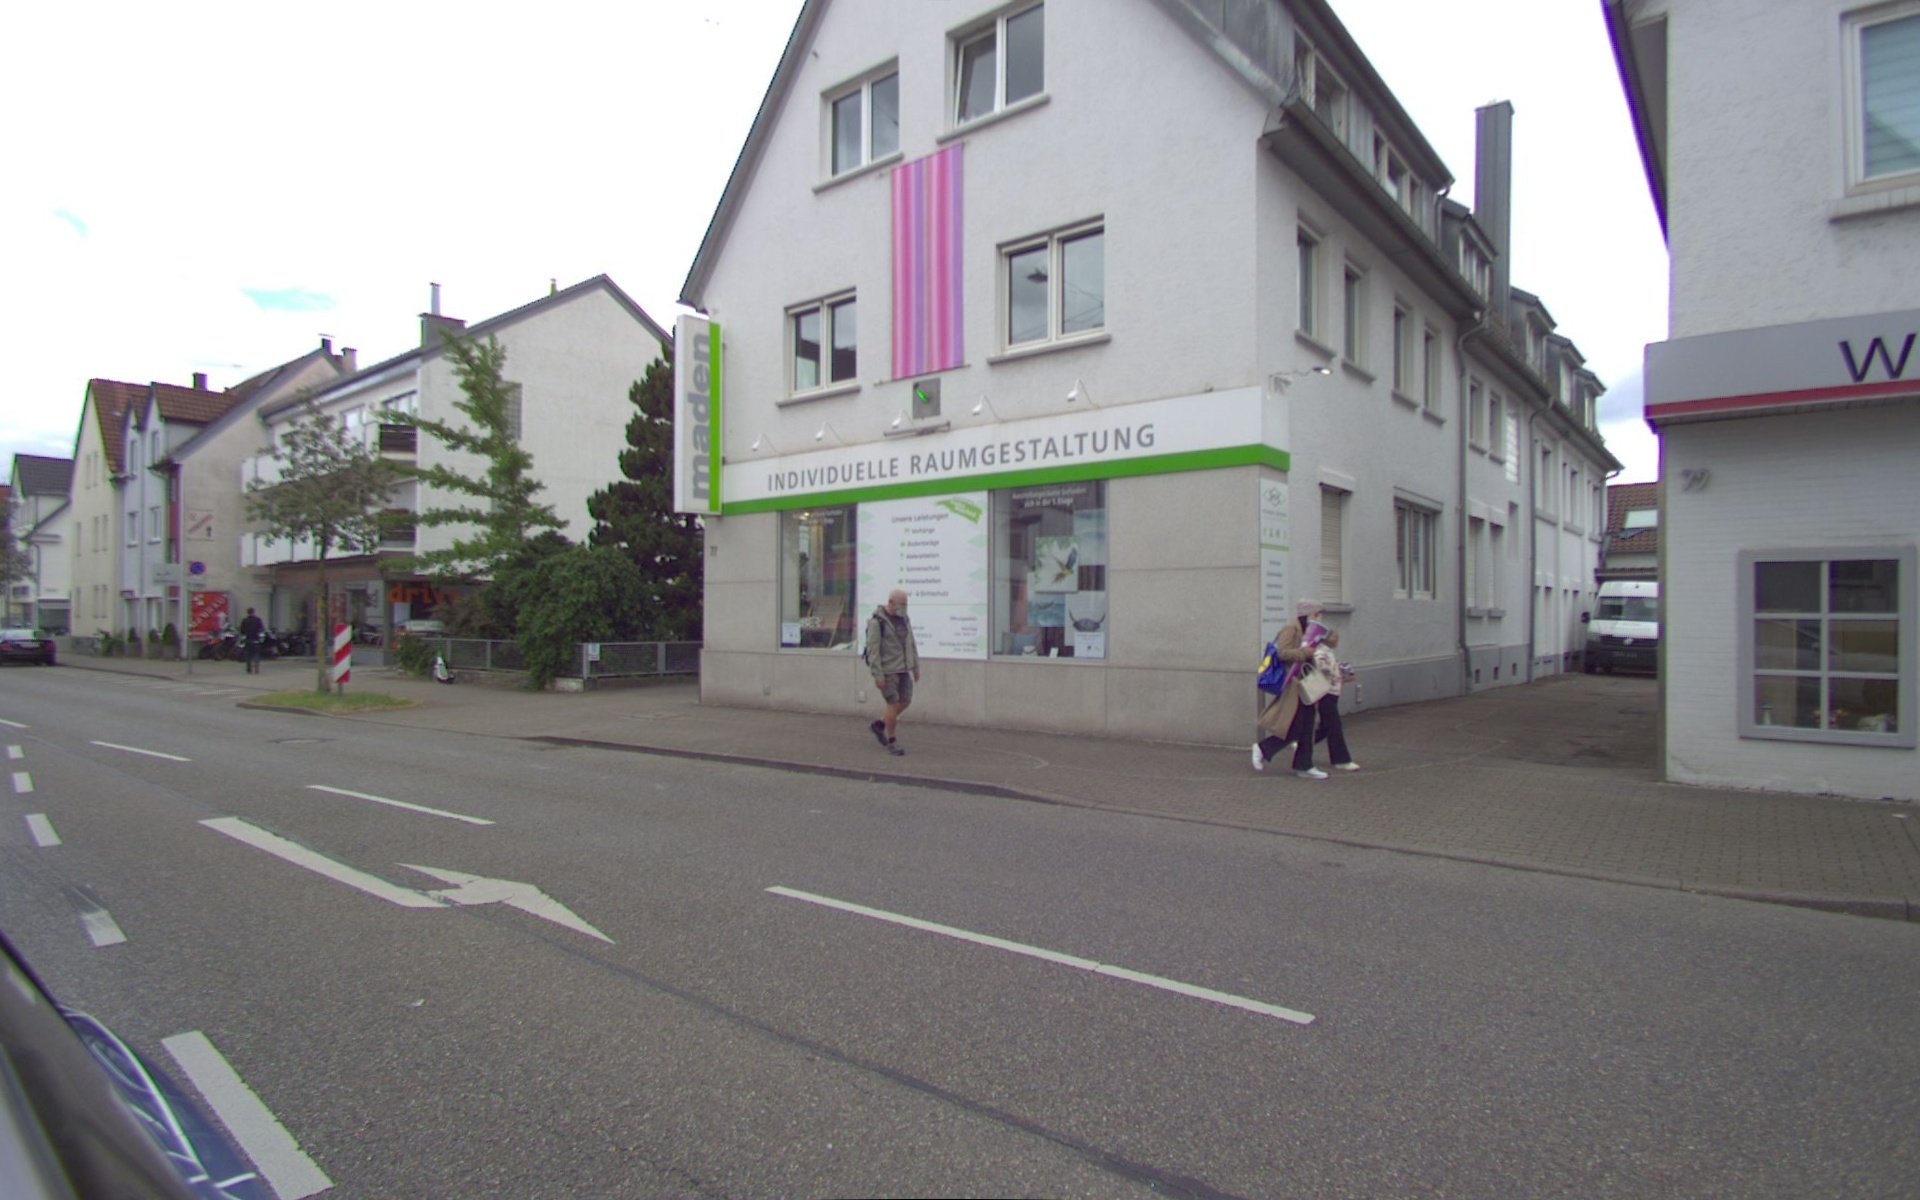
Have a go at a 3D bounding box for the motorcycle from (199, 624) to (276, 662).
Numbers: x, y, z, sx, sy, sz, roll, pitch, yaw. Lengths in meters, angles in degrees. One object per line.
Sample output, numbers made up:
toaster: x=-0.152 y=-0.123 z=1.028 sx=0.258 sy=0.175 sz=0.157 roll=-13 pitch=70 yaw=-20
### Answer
motorcycle: x=-26.938 y=1.587 z=37.770 sx=0.612 sy=1.275 sz=2.204 roll=-1 pitch=1 yaw=38

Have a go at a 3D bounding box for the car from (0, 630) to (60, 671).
car: x=-35.564 y=1.862 z=38.166 sx=4.337 sy=1.428 sz=1.770 roll=-1 pitch=-2 yaw=39

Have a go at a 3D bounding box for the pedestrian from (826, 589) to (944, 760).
pedestrian: x=-0.825 y=0.775 z=11.064 sx=1.019 sy=1.756 sz=0.744 roll=-1 pitch=1 yaw=40

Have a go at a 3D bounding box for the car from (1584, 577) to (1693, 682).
car: x=18.561 y=0.703 z=27.552 sx=1.957 sy=2.527 sz=5.918 roll=2 pitch=1 yaw=38

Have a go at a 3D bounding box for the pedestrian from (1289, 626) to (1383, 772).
pedestrian: x=3.547 y=0.902 z=9.545 sx=0.654 sy=1.289 sz=0.593 roll=-1 pitch=0 yaw=40

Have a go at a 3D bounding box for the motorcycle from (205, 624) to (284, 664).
motorcycle: x=-25.895 y=1.582 z=36.686 sx=0.698 sy=1.275 sz=2.204 roll=-1 pitch=1 yaw=38

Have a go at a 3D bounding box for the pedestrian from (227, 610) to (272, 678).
pedestrian: x=-20.285 y=1.240 z=28.888 sx=1.019 sy=1.863 sz=0.744 roll=-1 pitch=2 yaw=40

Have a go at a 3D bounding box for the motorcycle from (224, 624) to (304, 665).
motorcycle: x=-24.540 y=1.552 z=35.731 sx=0.612 sy=1.275 sz=2.204 roll=-1 pitch=1 yaw=38

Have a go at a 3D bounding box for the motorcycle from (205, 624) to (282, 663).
motorcycle: x=-26.400 y=1.583 z=37.316 sx=0.612 sy=1.275 sz=2.204 roll=-1 pitch=1 yaw=38

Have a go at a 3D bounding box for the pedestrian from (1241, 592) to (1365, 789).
pedestrian: x=3.060 y=0.765 z=9.023 sx=0.792 sy=1.629 sz=0.744 roll=-1 pitch=2 yaw=40

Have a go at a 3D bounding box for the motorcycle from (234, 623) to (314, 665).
motorcycle: x=-23.813 y=1.511 z=35.162 sx=0.612 sy=1.275 sz=2.204 roll=-1 pitch=1 yaw=38

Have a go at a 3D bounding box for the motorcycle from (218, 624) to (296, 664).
motorcycle: x=-25.151 y=1.565 z=36.243 sx=0.612 sy=1.275 sz=2.204 roll=-1 pitch=1 yaw=38

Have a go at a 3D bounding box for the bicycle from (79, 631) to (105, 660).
bicycle: x=-37.263 y=1.935 z=43.448 sx=2.022 sy=1.205 sz=0.509 roll=-1 pitch=-1 yaw=39

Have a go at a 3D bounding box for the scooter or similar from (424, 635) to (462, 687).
scooter or similar: x=-11.596 y=1.353 z=22.677 sx=1.179 sy=1.120 sz=0.336 roll=-1 pitch=-1 yaw=41
